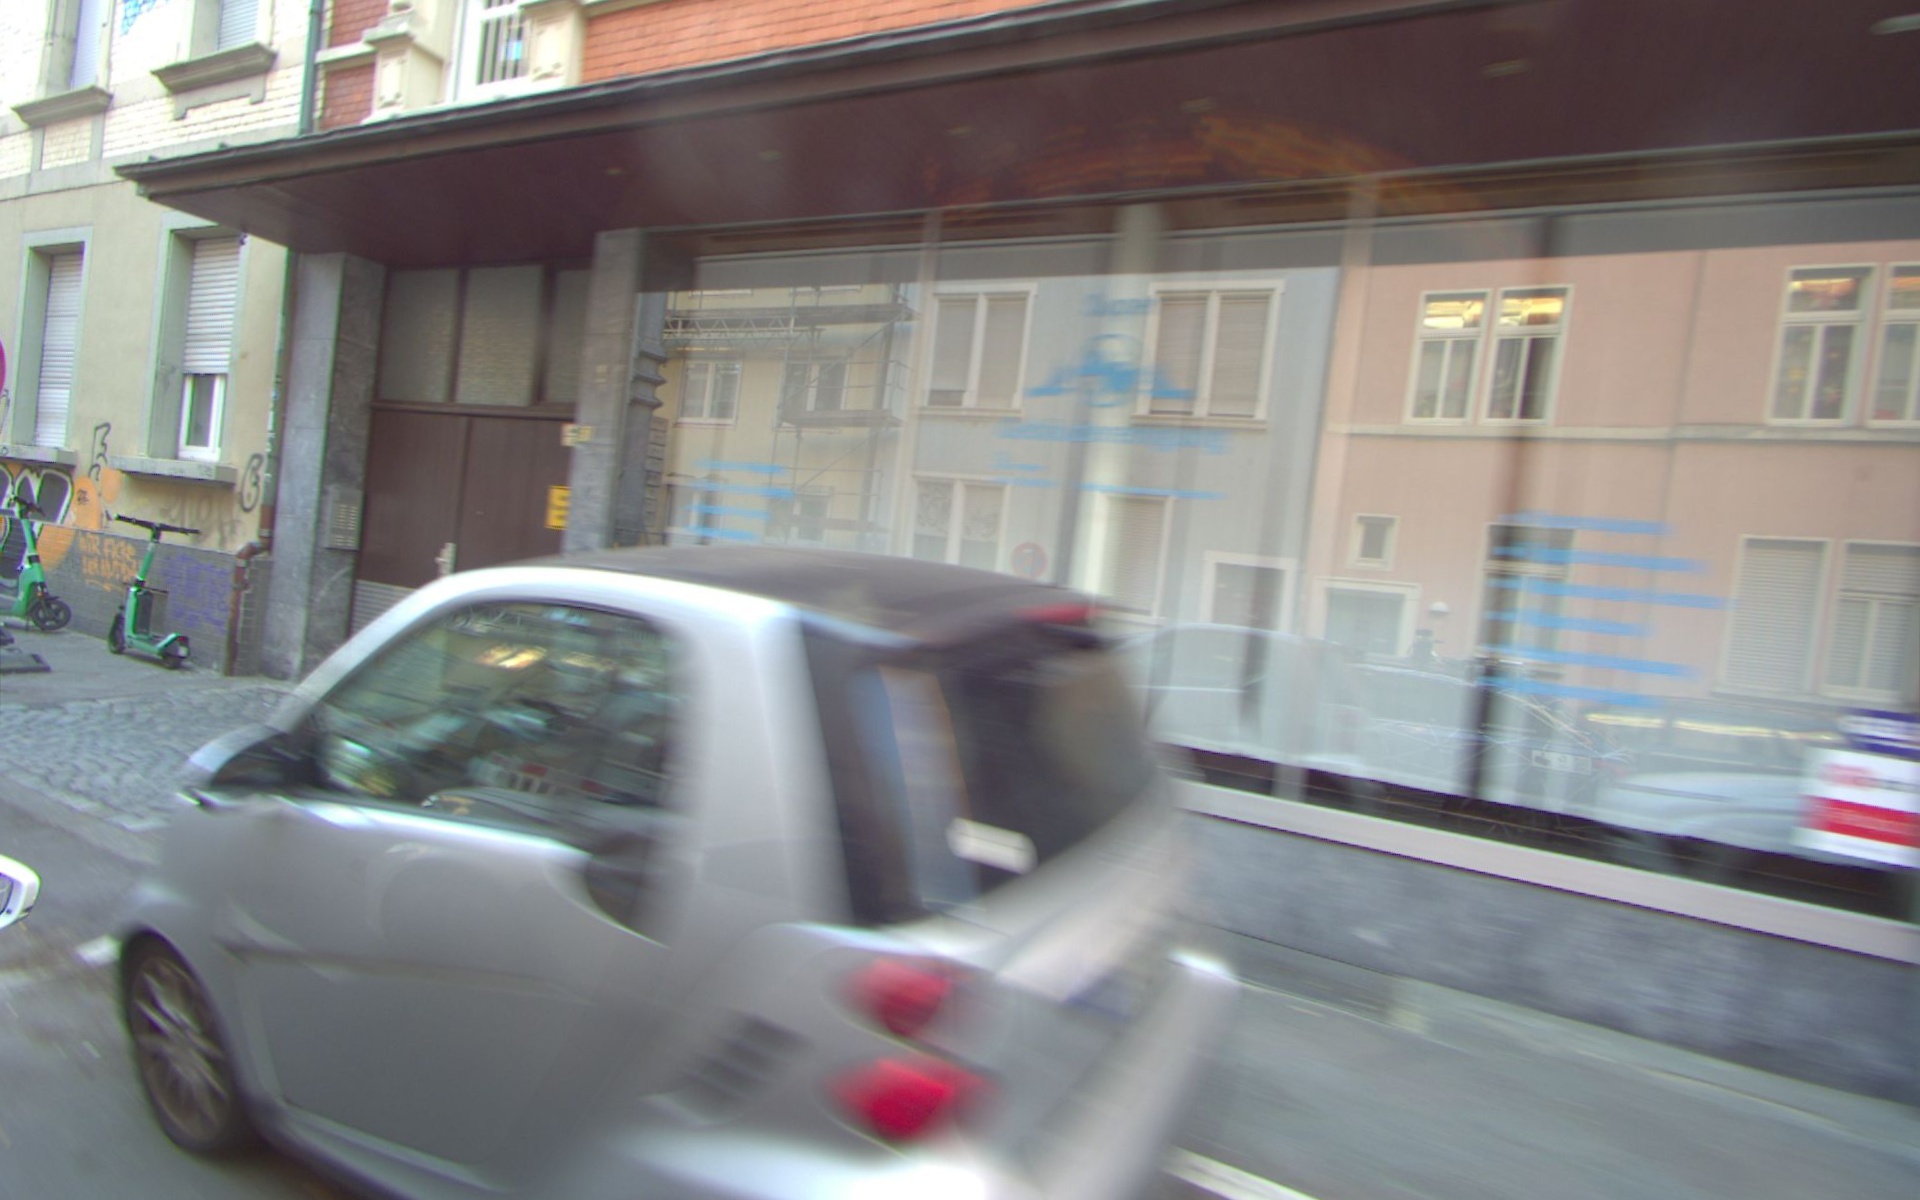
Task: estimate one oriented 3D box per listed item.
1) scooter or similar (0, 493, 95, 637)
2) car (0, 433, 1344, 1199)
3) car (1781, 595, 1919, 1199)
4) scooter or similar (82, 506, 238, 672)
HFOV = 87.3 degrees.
[{"bbox_3d":[-8.600,-0.351,9.264,1.469,1.195,0.418,7,4,28],"label":"scooter or similar"},{"bbox_3d":[-1.128,0.521,2.766,3.748,1.580,1.598,7,2,29],"label":"car"},{"bbox_3d":[3.258,1.034,0.350,4.266,1.697,1.749,7,1,29],"label":"car"},{"bbox_3d":[-6.653,-0.109,8.352,1.469,1.195,0.418,7,4,28],"label":"scooter or similar"}]
